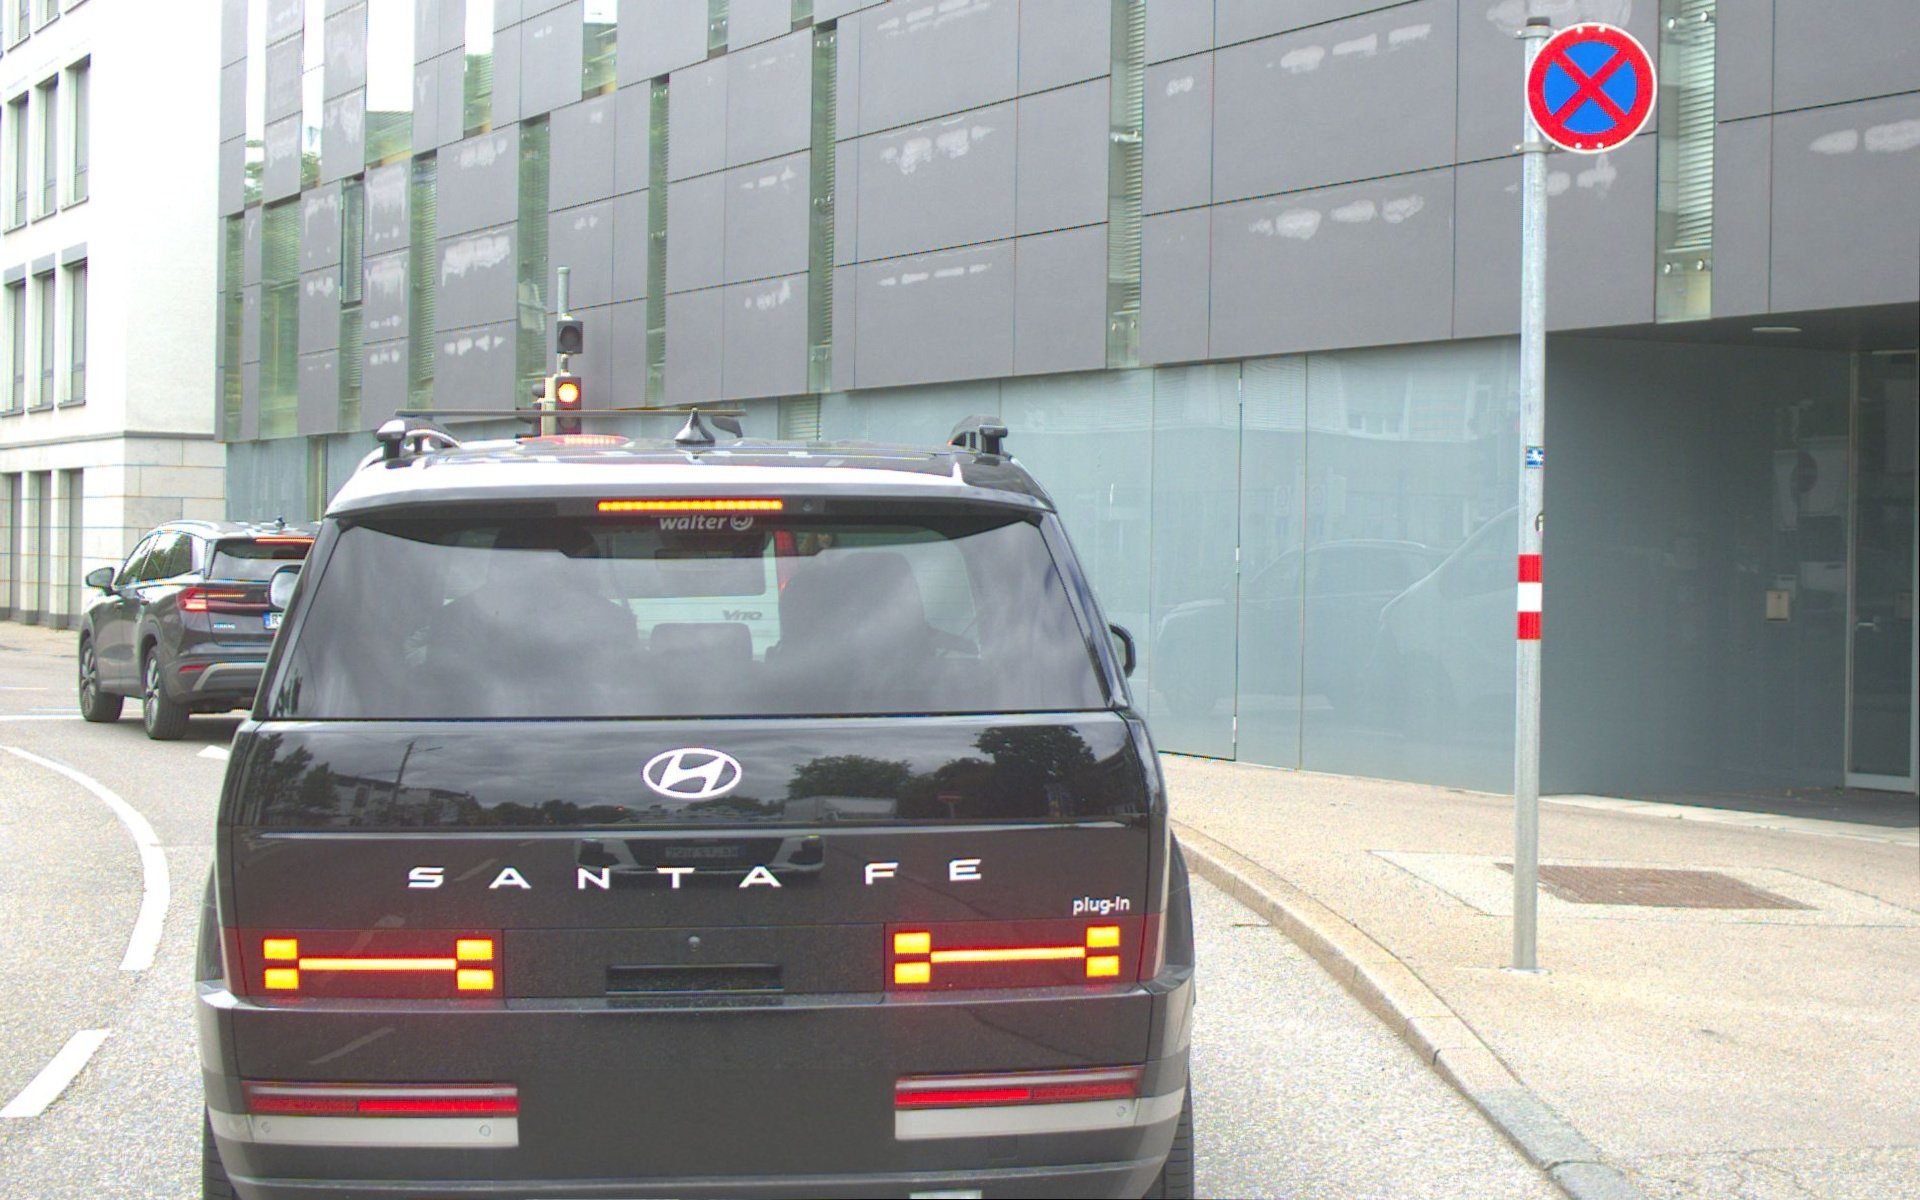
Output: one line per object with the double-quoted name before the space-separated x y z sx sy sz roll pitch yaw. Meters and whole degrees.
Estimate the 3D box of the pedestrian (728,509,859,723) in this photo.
"pedestrian" -1.344 0.123 27.621 0.711 1.688 0.866 1 0 -27

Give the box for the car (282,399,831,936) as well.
"car" -1.938 0.220 15.146 1.931 1.987 4.536 1 1 -12

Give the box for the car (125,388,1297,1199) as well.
"car" -0.643 0.493 7.800 1.908 1.743 4.398 0 1 -7

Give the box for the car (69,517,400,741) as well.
"car" -5.749 0.173 26.878 1.759 1.603 4.189 1 1 -23
